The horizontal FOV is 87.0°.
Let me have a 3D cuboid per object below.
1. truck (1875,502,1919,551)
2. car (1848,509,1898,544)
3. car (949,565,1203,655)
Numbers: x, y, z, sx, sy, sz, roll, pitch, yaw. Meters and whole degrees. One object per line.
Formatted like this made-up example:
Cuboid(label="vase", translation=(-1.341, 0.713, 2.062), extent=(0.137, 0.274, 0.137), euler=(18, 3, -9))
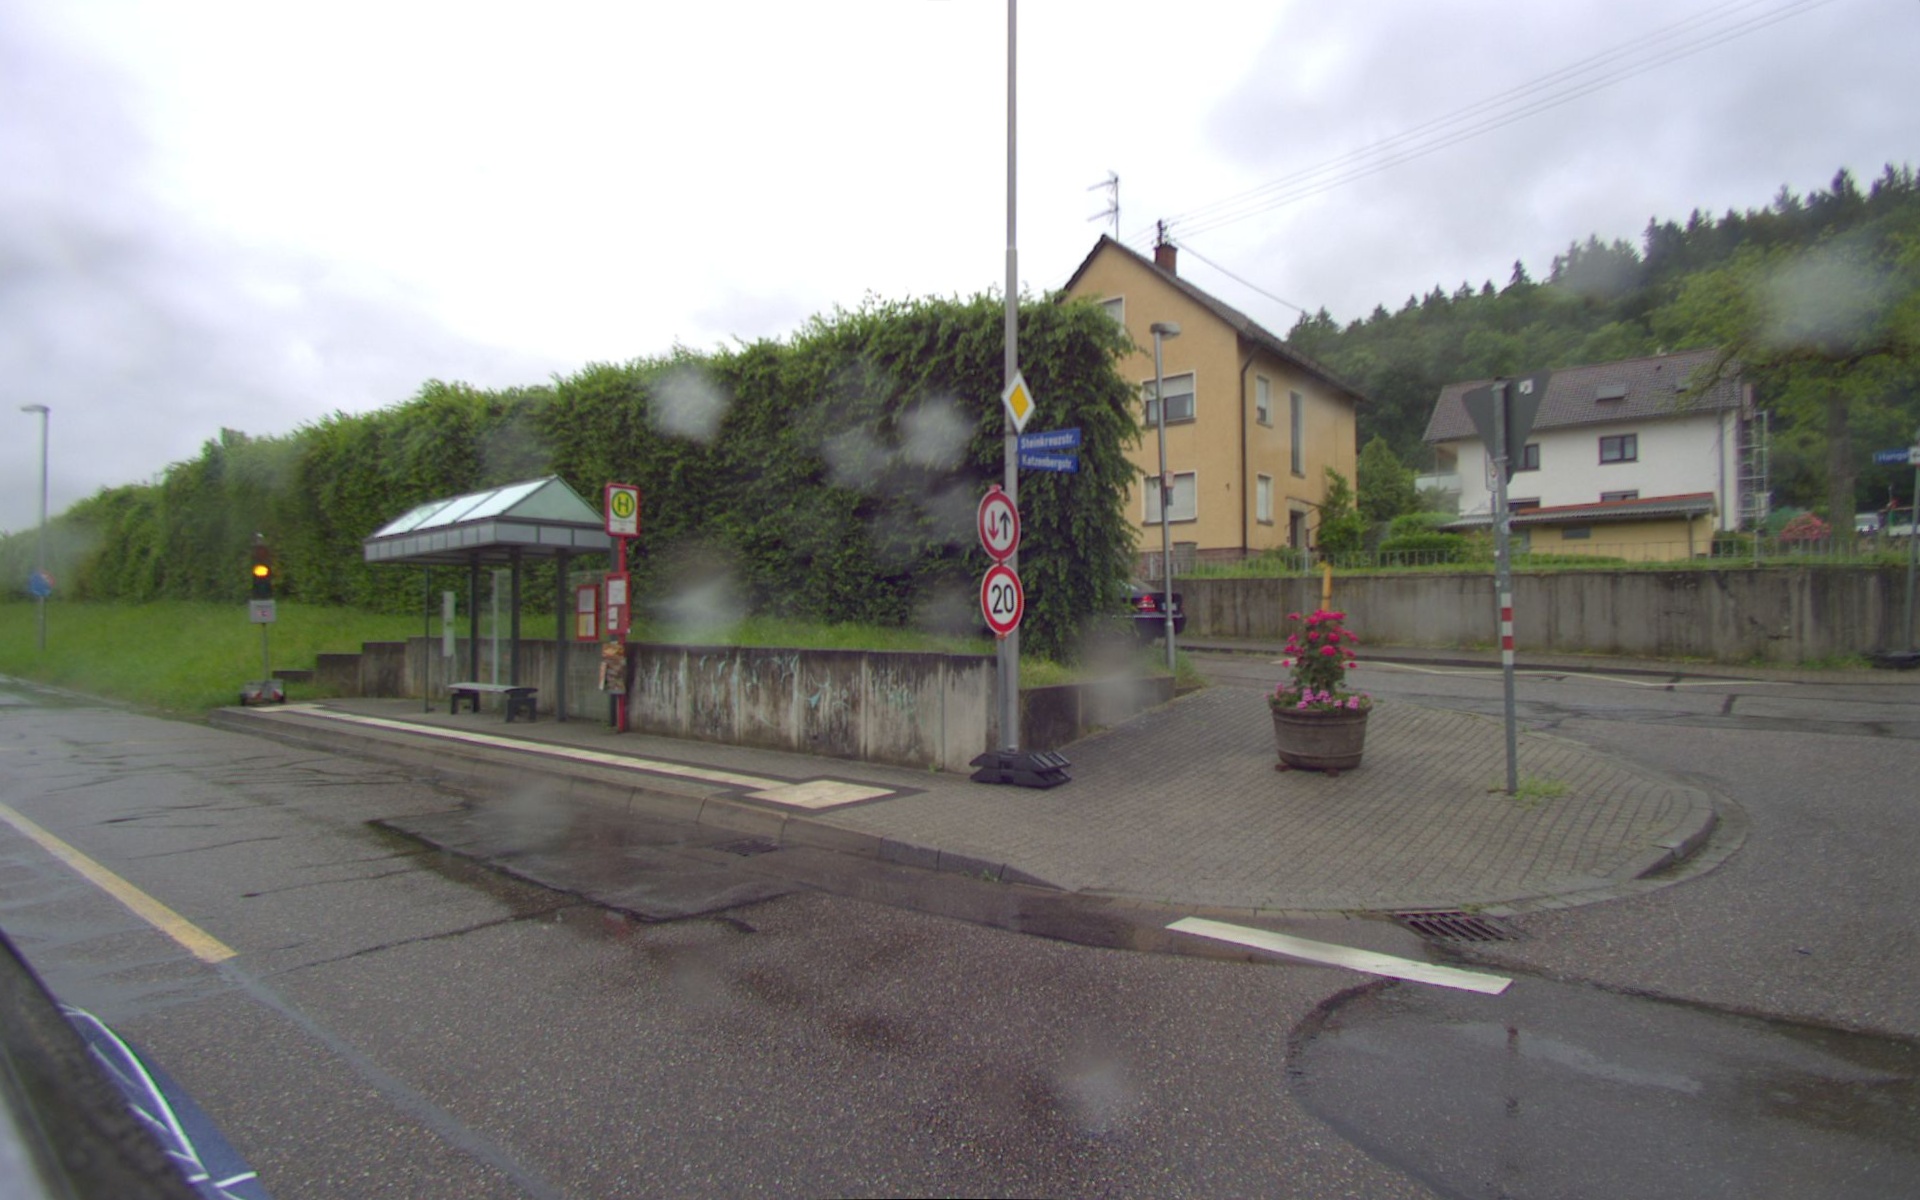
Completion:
Cuboid(label="truck", translation=(45.408, -3.492, 48.236), extent=(2.298, 2.142, 6.001), euler=(-1, 1, 39))
Cuboid(label="car", translation=(58.391, -4.662, 64.783), extent=(1.913, 2.028, 3.952), euler=(0, 2, 36))
Cuboid(label="car", translation=(1.977, 0.114, 17.962), extent=(4.219, 1.399, 1.727), euler=(2, 1, 39))
